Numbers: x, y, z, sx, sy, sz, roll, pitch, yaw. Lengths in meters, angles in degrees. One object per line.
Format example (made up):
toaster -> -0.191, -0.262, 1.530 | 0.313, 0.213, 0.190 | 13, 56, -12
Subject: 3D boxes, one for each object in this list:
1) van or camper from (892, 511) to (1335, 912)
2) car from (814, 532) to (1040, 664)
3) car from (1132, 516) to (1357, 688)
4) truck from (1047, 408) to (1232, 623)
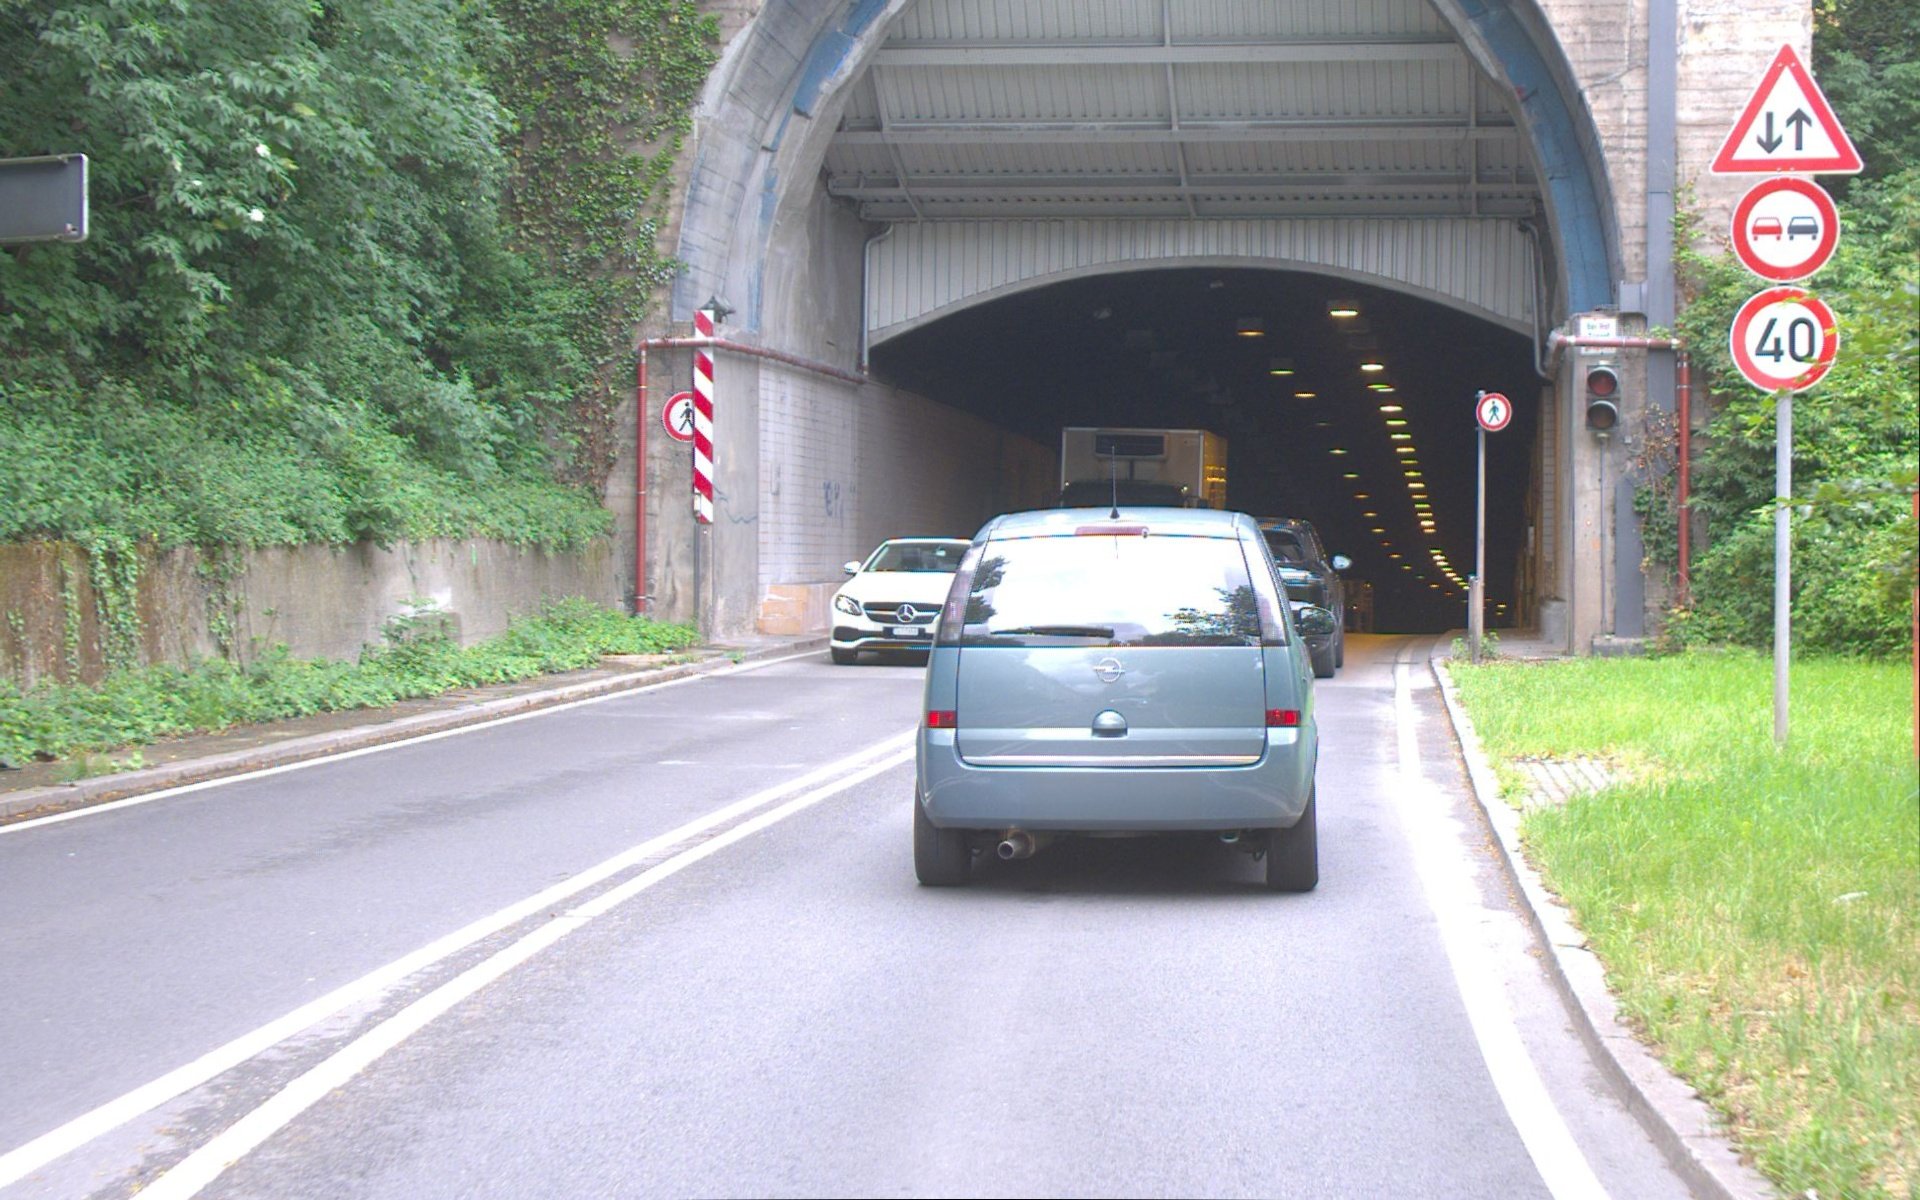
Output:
van or camper -> 0.685, 0.401, 15.440 | 1.735, 1.572, 3.646 | -1, 1, 3
car -> -0.306, -0.066, 38.781 | 1.869, 1.366, 4.455 | -1, 1, 8
car -> 3.093, -0.024, 36.656 | 1.994, 1.647, 3.999 | 0, 2, 10
truck -> 3.356, -1.501, 62.521 | 2.676, 3.654, 7.515 | 1, 1, 8
